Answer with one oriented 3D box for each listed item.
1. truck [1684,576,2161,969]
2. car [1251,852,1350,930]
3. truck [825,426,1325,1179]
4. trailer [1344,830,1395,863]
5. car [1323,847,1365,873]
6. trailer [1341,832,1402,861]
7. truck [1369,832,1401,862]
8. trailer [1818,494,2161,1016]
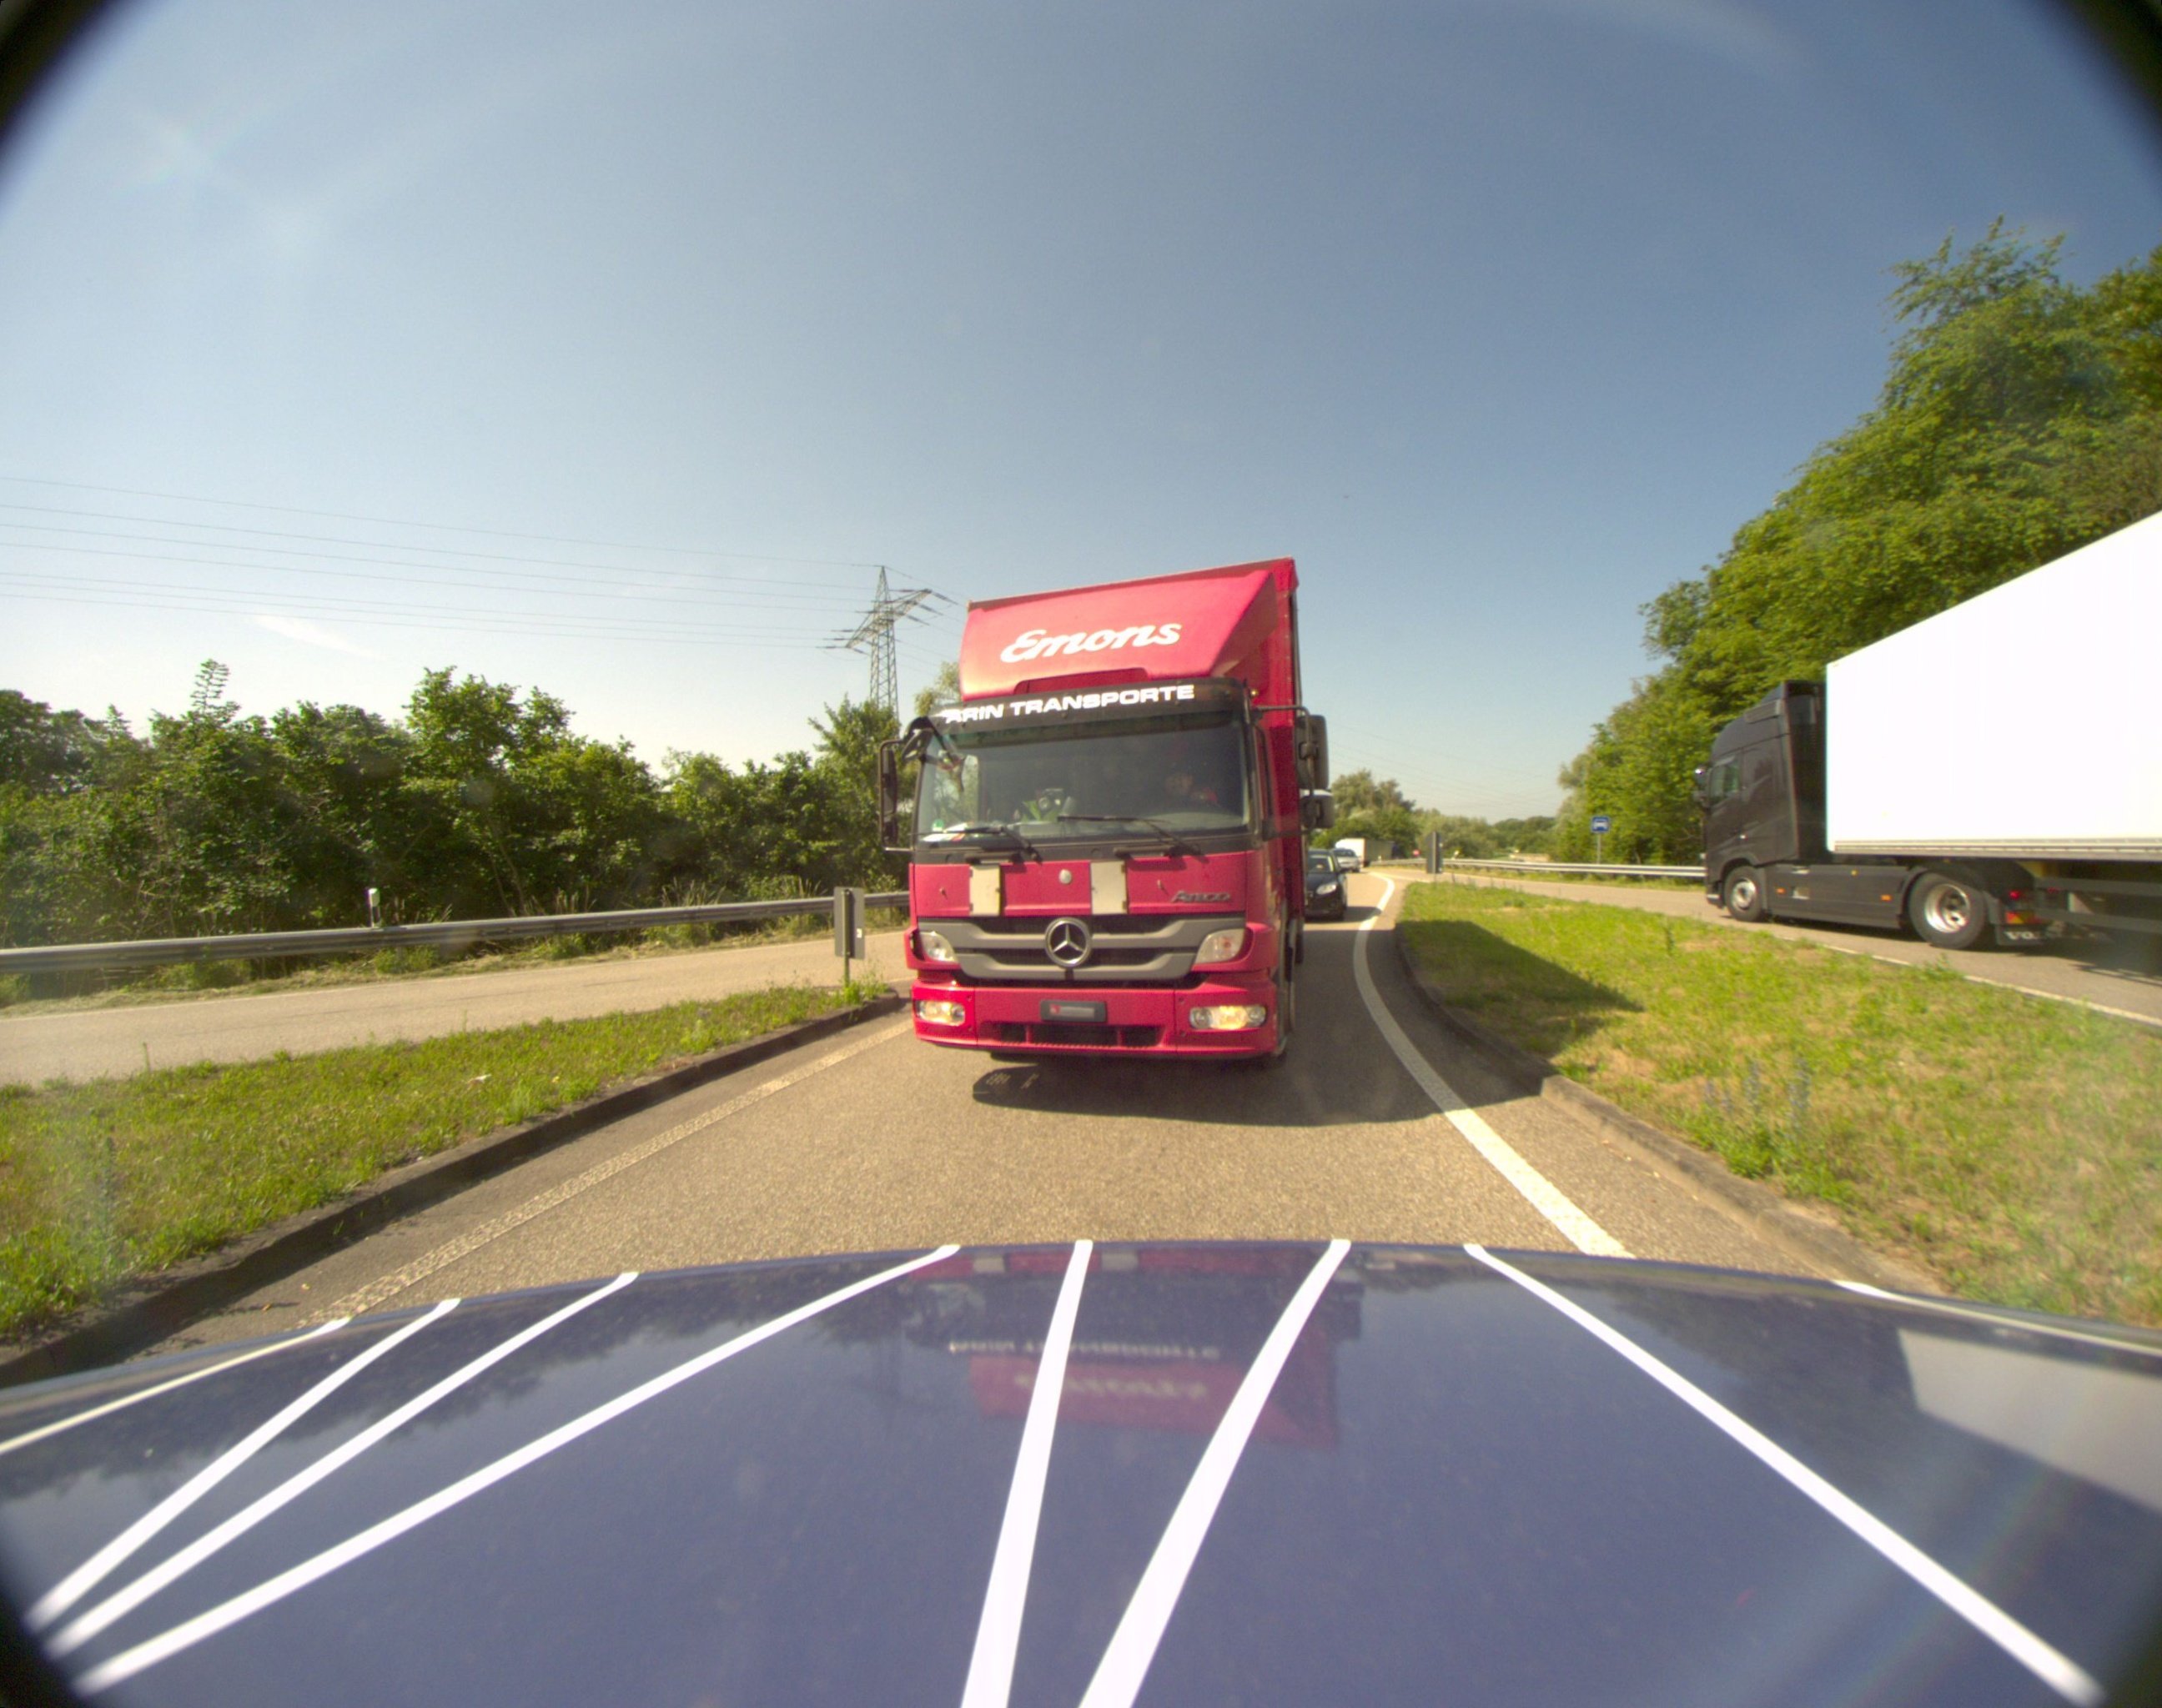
[{"bbox_3d":[12.111,-0.887,10.960,2.875,4.149,5.975,-2,0,12],"label":"truck"},{"bbox_3d":[4.845,0.712,16.431,1.785,1.406,4.005,-1,0,20],"label":"car"},{"bbox_3d":[1.186,-0.266,8.498,2.686,3.640,9.273,-1,1,17],"label":"truck"},{"bbox_3d":[39.680,-0.962,104.097,2.951,4.243,14.010,1,1,35],"label":"trailer"},{"bbox_3d":[15.124,0.332,43.824,1.785,1.377,4.382,-2,0,13],"label":"car"},{"bbox_3d":[45.814,-1.165,119.385,14.010,4.216,2.922,0,1,-43],"label":"trailer"},{"bbox_3d":[43.981,-1.000,109.927,2.932,4.222,5.744,1,1,36],"label":"truck"},{"bbox_3d":[9.561,-0.793,4.732,2.889,4.141,14.003,-2,1,26],"label":"trailer"}]
